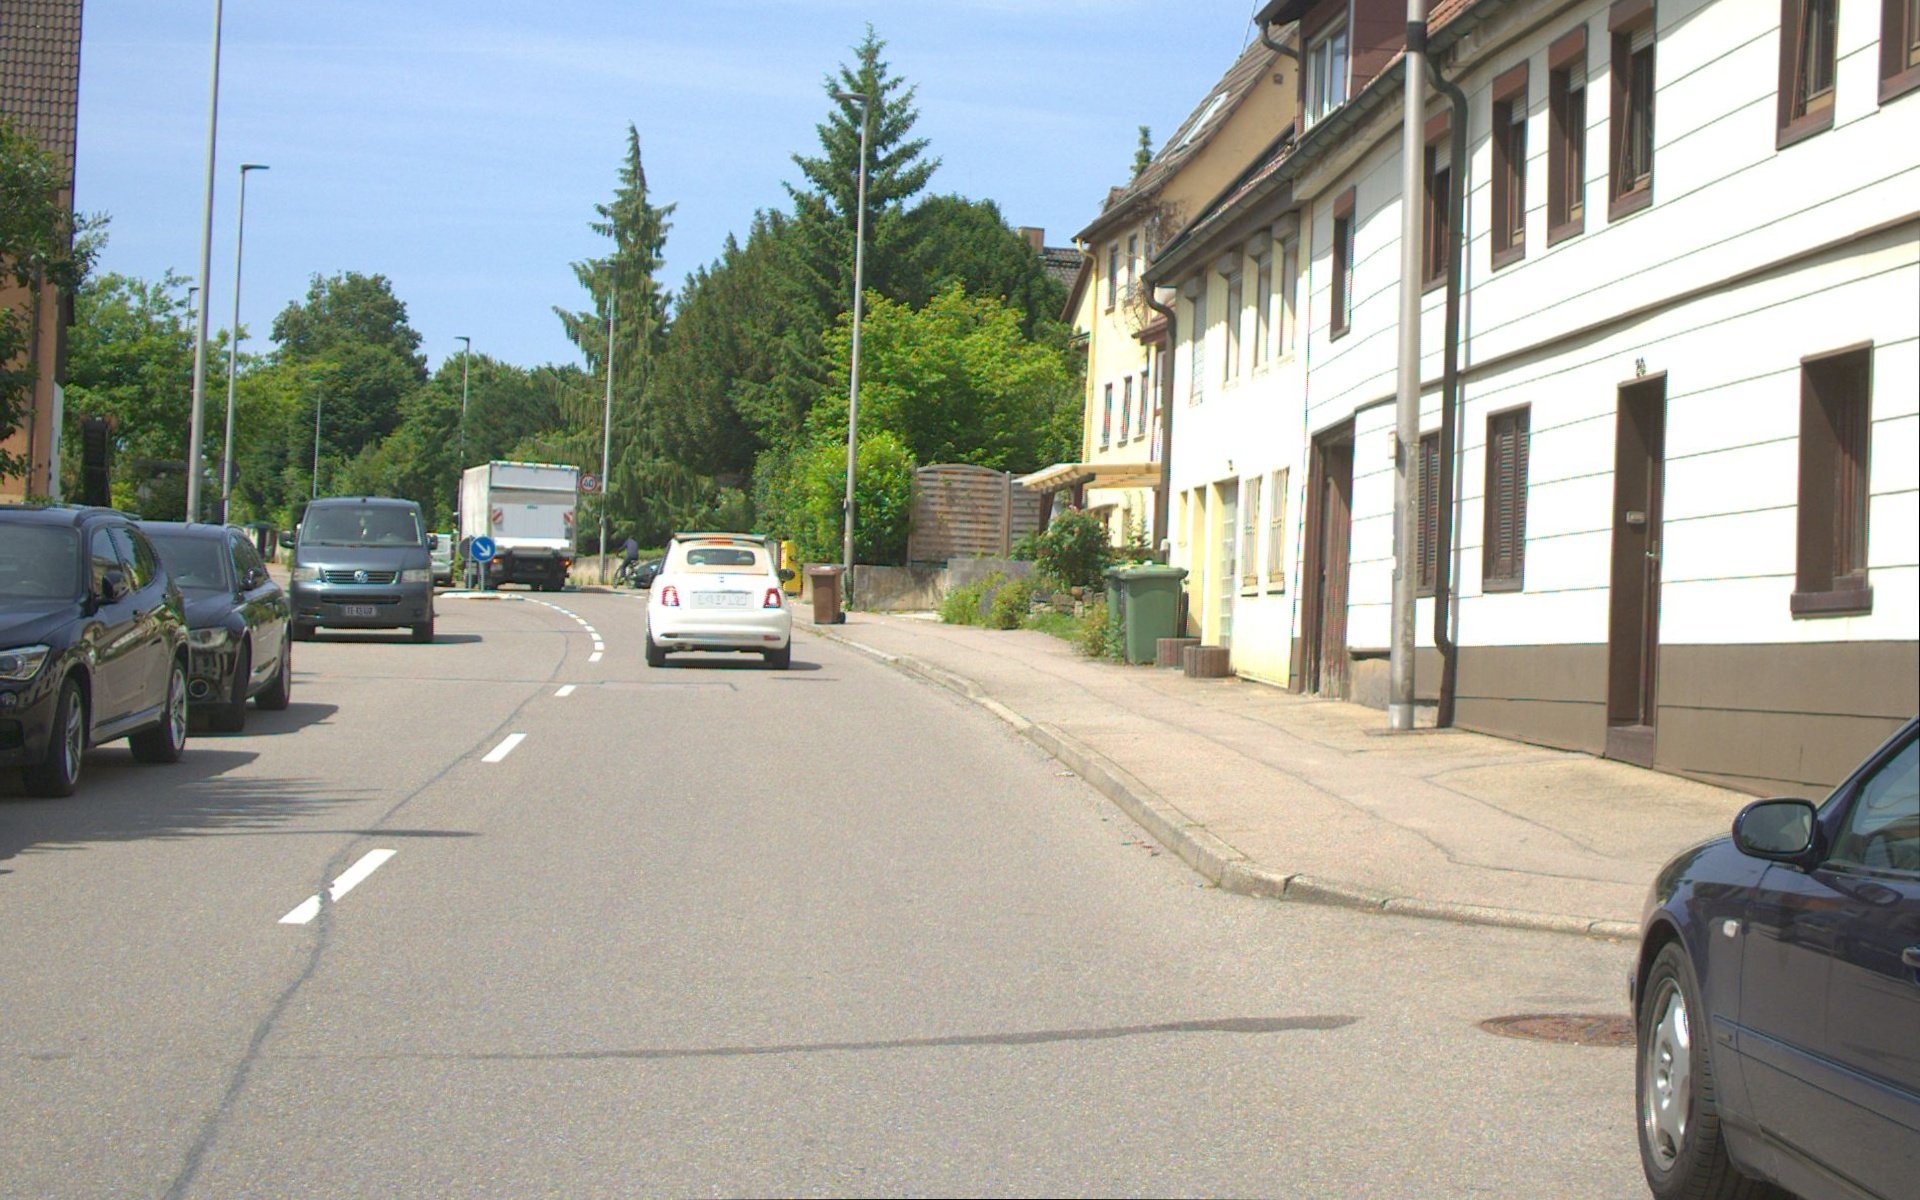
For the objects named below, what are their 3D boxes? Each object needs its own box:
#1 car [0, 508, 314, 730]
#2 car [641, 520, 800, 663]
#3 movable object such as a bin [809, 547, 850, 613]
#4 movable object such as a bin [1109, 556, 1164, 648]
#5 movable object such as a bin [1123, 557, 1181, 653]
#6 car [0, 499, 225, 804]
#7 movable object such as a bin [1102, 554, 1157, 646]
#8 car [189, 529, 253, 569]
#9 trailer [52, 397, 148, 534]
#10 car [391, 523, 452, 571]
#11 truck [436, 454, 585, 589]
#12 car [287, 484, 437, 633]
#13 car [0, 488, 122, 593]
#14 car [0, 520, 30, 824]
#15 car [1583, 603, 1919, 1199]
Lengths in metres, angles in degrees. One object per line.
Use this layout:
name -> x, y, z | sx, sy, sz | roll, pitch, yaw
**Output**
car -> -6.003, 0.070, 25.711 | 1.819, 1.468, 4.777 | 1, 1, -5
car -> -2.806, -0.123, 40.079 | 1.724, 1.555, 4.001 | 1, 1, -4
movable object such as a bin -> -2.110, -0.322, 55.610 | 0.494, 1.030, 0.548 | -2, 1, 16
movable object such as a bin -> 2.011, 0.017, 39.151 | 0.546, 1.030, 0.551 | -1, 1, -5
movable object such as a bin -> 2.119, 0.048, 37.965 | 0.546, 1.030, 0.551 | -1, 1, -5
car -> -5.519, 0.197, 19.651 | 1.755, 1.516, 4.301 | 1, 2, -1
movable object such as a bin -> 1.959, -0.003, 39.738 | 0.546, 1.030, 0.551 | -1, 1, -5
car -> -26.898, -1.858, 125.057 | 1.804, 1.393, 4.001 | 1, 0, -18
trailer -> -18.957, -2.912, 75.952 | 1.711, 2.839, 6.176 | 2, 1, -12
car -> -20.568, -2.036, 131.231 | 1.534, 1.664, 4.002 | 3, 1, -19
truck -> -13.299, -2.259, 101.223 | 3.067, 3.761, 7.870 | 1, 0, -17
car -> -8.184, -0.580, 47.385 | 1.890, 1.931, 4.987 | 1, 1, -8
car -> -14.911, -1.031, 51.925 | 4.227, 1.400, 1.822 | 6, 0, -13
car -> -5.351, 0.365, 14.637 | 1.788, 1.458, 4.713 | 1, 1, -4
car -> 2.488, 0.753, 6.224 | 1.665, 1.348, 4.188 | 2, 1, -4
